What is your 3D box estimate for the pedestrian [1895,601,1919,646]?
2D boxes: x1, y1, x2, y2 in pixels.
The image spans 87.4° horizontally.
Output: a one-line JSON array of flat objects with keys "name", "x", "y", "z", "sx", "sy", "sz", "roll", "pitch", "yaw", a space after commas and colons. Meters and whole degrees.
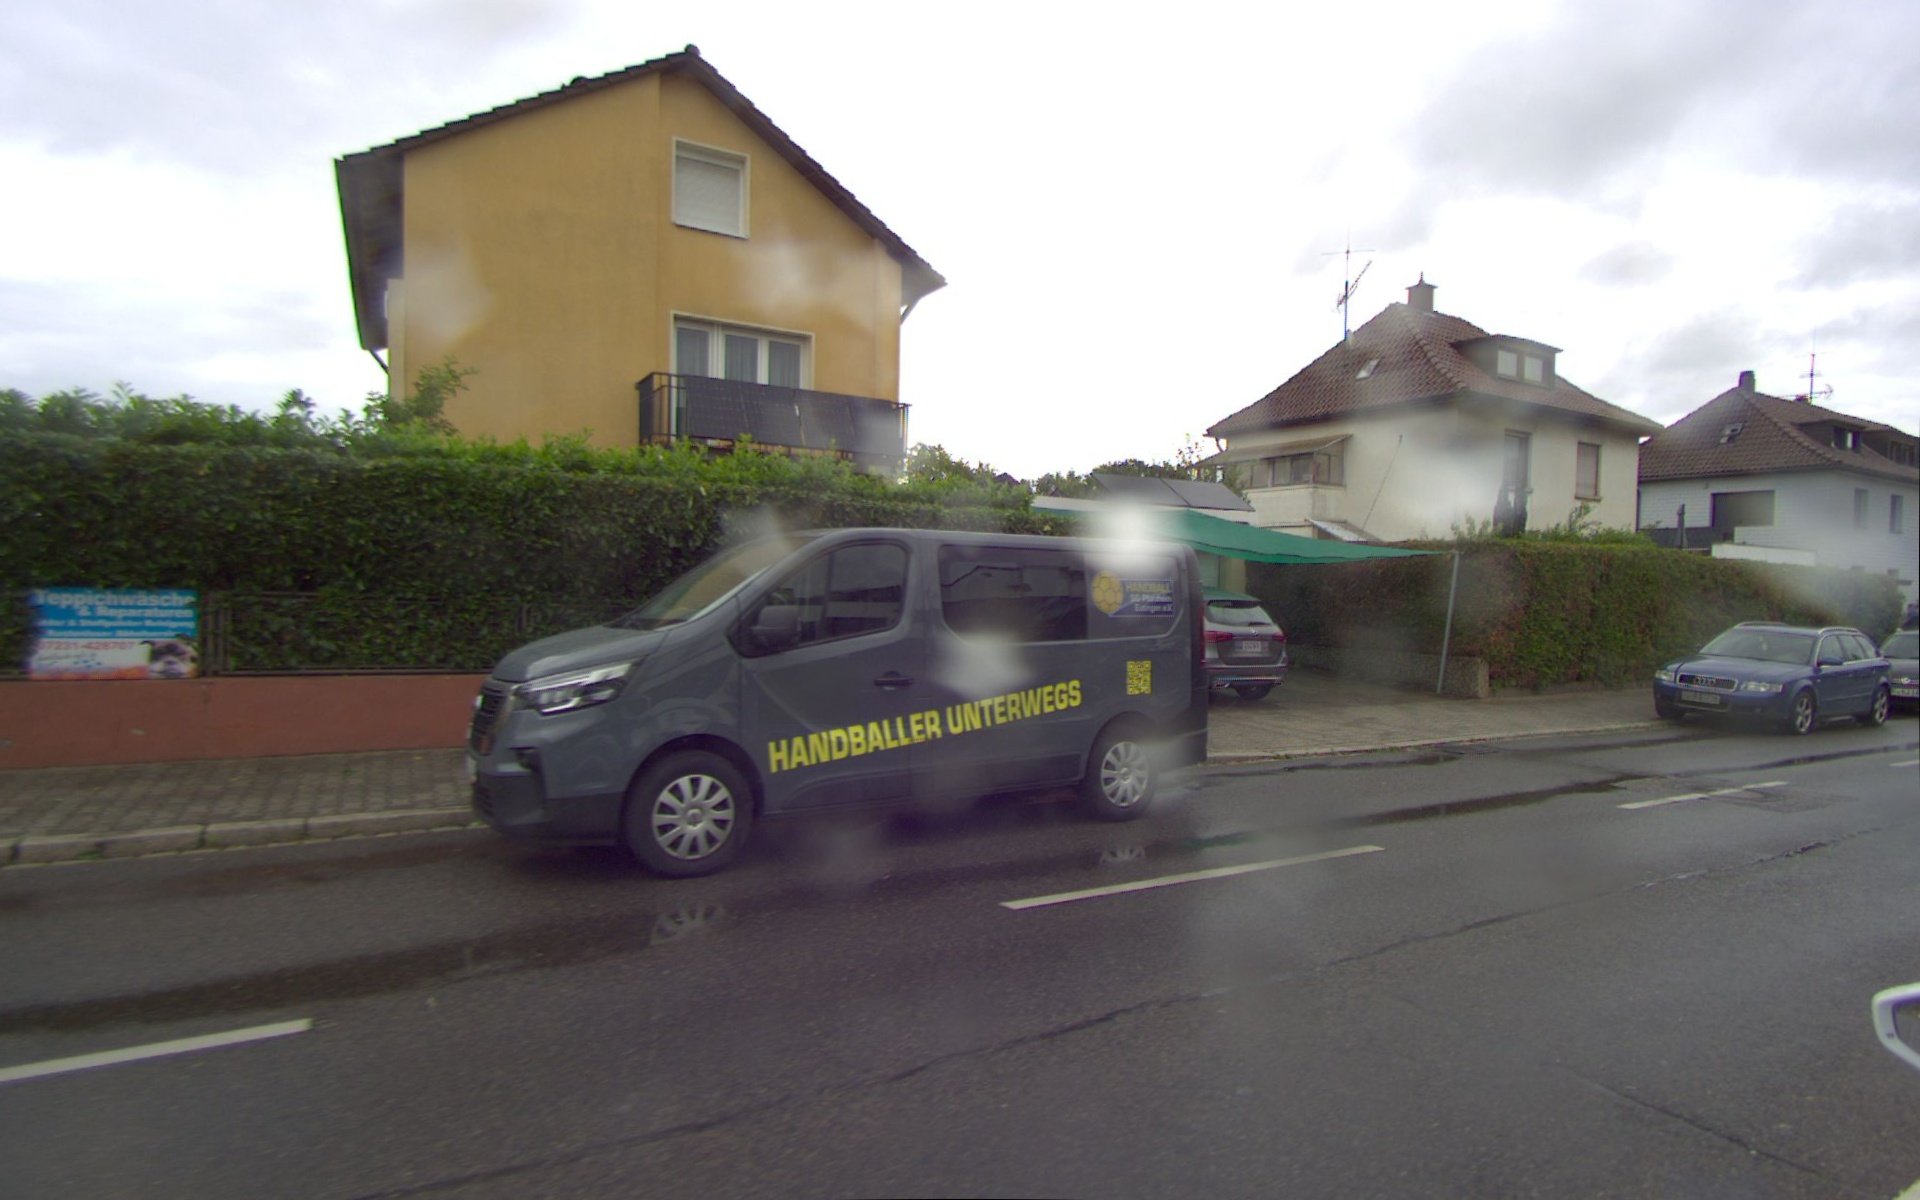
[{"name": "pedestrian", "x": 36.828, "y": 0.917, "z": 38.889, "sx": 0.641, "sy": 1.688, "sz": 0.598, "roll": 1, "pitch": 3, "yaw": -25}]

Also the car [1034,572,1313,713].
[{"name": "car", "x": 2.991, "y": 0.516, "z": 14.948, "sx": 1.895, "sy": 1.635, "sz": 3.942, "roll": 1, "pitch": 3, "yaw": -29}]

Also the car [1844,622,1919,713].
[{"name": "car", "x": 17.266, "y": 1.158, "z": 17.697, "sx": 3.972, "sy": 1.450, "sz": 1.541, "roll": 1, "pitch": 0, "yaw": -34}]

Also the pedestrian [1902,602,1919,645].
[{"name": "pedestrian", "x": 38.595, "y": 0.966, "z": 40.486, "sx": 0.641, "sy": 1.688, "sz": 0.598, "roll": 1, "pitch": 3, "yaw": -25}]

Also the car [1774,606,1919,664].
[{"name": "car", "x": 27.576, "y": 1.040, "z": 30.553, "sx": 1.834, "sy": 1.536, "sz": 3.968, "roll": 1, "pitch": 1, "yaw": -29}]

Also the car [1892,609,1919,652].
[{"name": "car", "x": 36.063, "y": 1.189, "z": 35.597, "sx": 1.834, "sy": 1.536, "sz": 4.053, "roll": 1, "pitch": 1, "yaw": -29}]

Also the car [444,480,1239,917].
[{"name": "car", "x": -0.594, "y": 0.497, "z": 6.824, "sx": 5.032, "sy": 2.029, "sz": 1.902, "roll": 1, "pitch": 0, "yaw": -33}]

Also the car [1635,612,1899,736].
[{"name": "car", "x": 12.004, "y": 1.011, "z": 14.880, "sx": 4.239, "sy": 1.553, "sz": 1.747, "roll": 1, "pitch": 0, "yaw": -32}]

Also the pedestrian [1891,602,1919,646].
[{"name": "pedestrian", "x": 37.468, "y": 0.939, "z": 39.780, "sx": 0.641, "sy": 1.688, "sz": 0.598, "roll": 1, "pitch": 3, "yaw": -25}]
